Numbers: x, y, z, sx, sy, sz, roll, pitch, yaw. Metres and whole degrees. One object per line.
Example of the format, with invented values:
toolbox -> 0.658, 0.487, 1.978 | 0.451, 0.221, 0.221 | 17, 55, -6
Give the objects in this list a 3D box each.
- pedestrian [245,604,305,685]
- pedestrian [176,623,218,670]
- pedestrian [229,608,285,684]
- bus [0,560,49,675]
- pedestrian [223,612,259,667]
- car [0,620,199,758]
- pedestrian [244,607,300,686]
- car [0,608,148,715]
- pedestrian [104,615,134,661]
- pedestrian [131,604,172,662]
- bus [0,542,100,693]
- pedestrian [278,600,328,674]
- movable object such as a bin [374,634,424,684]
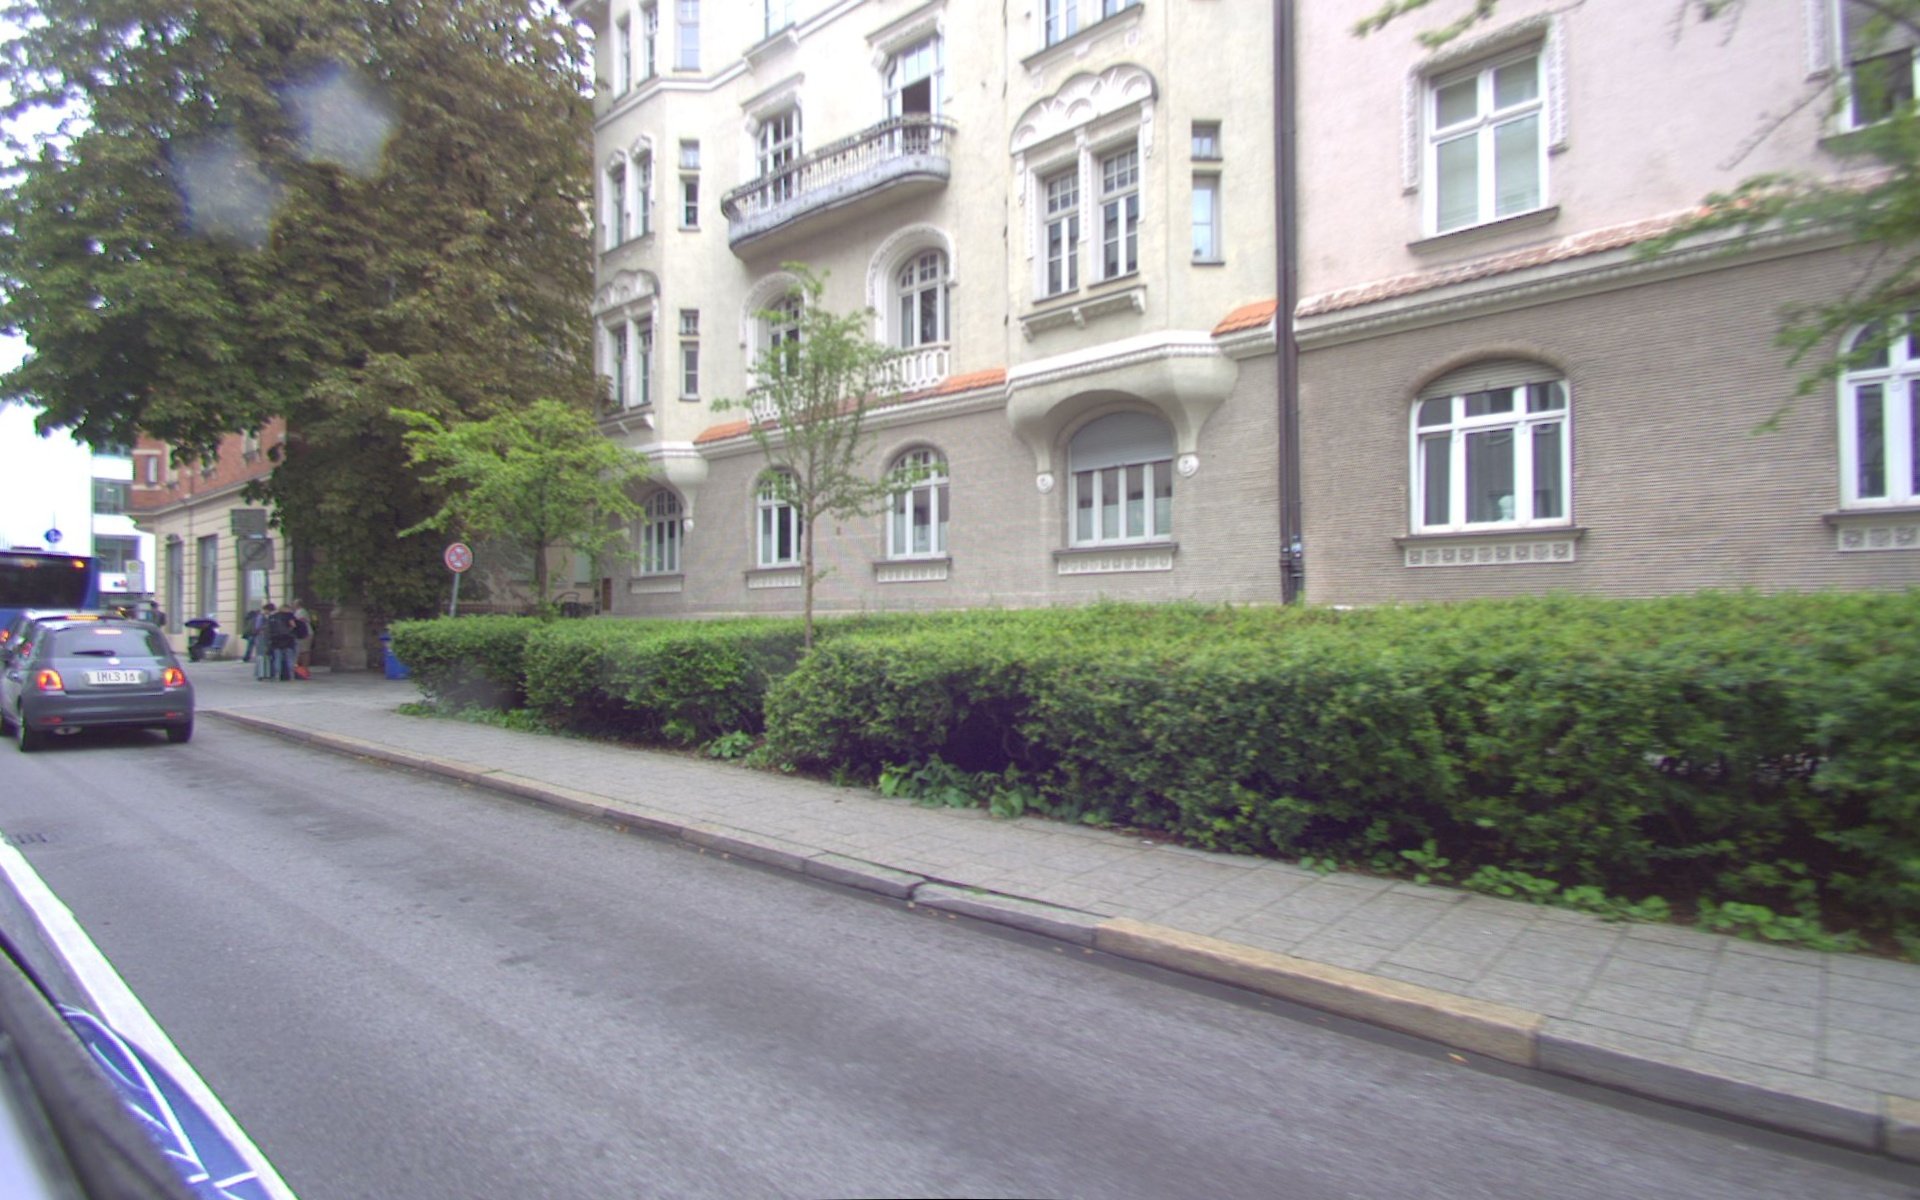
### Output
pedestrian -> -15.290, 0.987, 22.579 | 0.846, 1.758, 0.898 | -1, -2, 41
pedestrian -> -22.624, 1.366, 30.020 | 0.753, 1.351, 0.820 | -1, -3, 39
pedestrian -> -16.532, 1.069, 23.812 | 0.910, 1.758, 0.864 | -1, -2, 41
bus -> -29.594, 0.553, 30.285 | 9.106, 3.124, 2.551 | -1, -3, 43
pedestrian -> -20.531, 1.132, 28.902 | 0.753, 1.550, 0.618 | -1, -3, 40
car -> -11.076, 1.022, 12.819 | 3.781, 1.490, 1.567 | -1, -3, 42
pedestrian -> -15.822, 1.052, 23.274 | 0.786, 1.758, 0.864 | -1, -2, 41
car -> -15.830, 1.016, 17.756 | 4.272, 1.657, 1.749 | -1, -3, 42
pedestrian -> -37.800, 1.695, 45.508 | 0.938, 2.029, 1.399 | 1, -2, -38
pedestrian -> -28.249, 1.147, 35.365 | 0.769, 2.029, 0.831 | 0, -1, -1
bus -> -23.011, 0.456, 24.224 | 8.922, 3.124, 2.551 | -1, -3, 43
pedestrian -> -15.989, 0.903, 24.637 | 0.773, 1.758, 0.878 | 1, -2, -16
movable object such as a bin -> -12.765, 1.335, 23.048 | 0.622, 1.095, 0.804 | -1, -1, 32
